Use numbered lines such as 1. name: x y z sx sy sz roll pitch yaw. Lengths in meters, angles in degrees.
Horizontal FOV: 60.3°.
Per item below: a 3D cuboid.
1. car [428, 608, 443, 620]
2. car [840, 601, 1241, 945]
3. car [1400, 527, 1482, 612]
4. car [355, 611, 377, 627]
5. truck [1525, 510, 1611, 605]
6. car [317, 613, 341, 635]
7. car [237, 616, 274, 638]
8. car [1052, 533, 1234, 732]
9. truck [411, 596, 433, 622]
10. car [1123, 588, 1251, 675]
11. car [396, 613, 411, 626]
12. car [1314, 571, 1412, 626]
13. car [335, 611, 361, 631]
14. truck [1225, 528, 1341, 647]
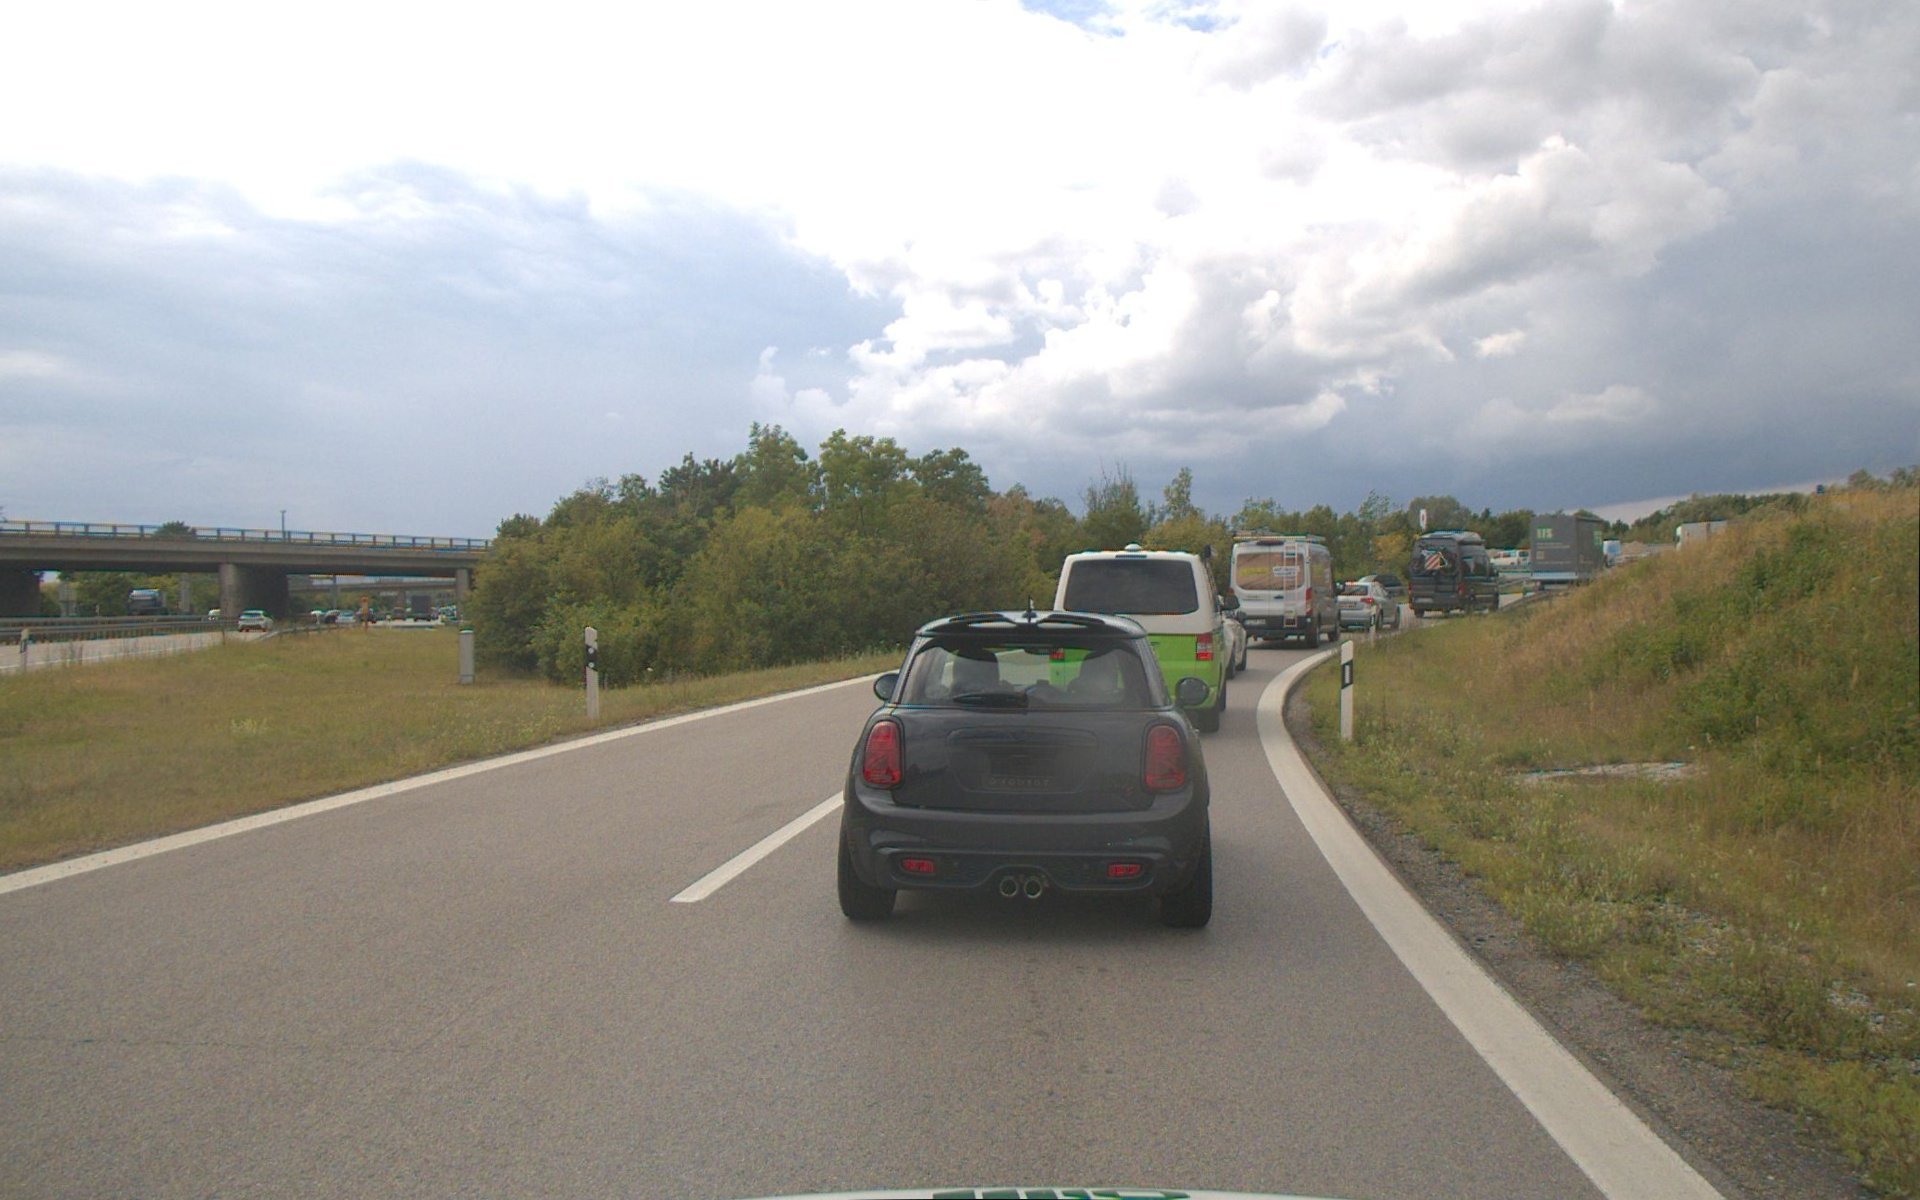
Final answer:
1. car: -78.940 2.117 249.000 1.960 1.842 3.984 -1 0 -15
2. car: 0.417 0.748 8.903 1.691 1.438 3.726 1 0 2
3. car: 16.826 -1.033 57.753 2.064 2.845 3.996 1 0 26
4. car: -67.991 2.213 189.470 1.961 1.774 4.809 -1 0 -15
5. truck: 27.666 -1.860 75.119 2.191 3.975 5.994 0 -2 35
6. car: -60.348 2.282 158.192 1.963 2.049 3.978 1 -1 -19
7. car: -48.557 1.860 114.093 1.807 1.478 4.358 0 0 -16
8. car: 2.223 0.343 19.154 1.746 2.049 4.003 1 0 11
9. truck: -72.524 1.203 223.002 2.427 3.430 7.890 -1 -1 -15
10. car: 4.023 0.526 28.846 1.725 1.423 3.727 0 0 16
11. car: -80.305 2.781 238.587 1.815 1.789 4.318 0 0 -16
12. car: 11.920 -0.027 48.736 1.831 1.536 3.993 0 -1 29
13. car: -49.513 1.700 133.931 1.690 1.545 3.981 -1 0 -17
14. truck: 7.939 -0.299 40.275 2.133 2.705 5.111 0 0 18
